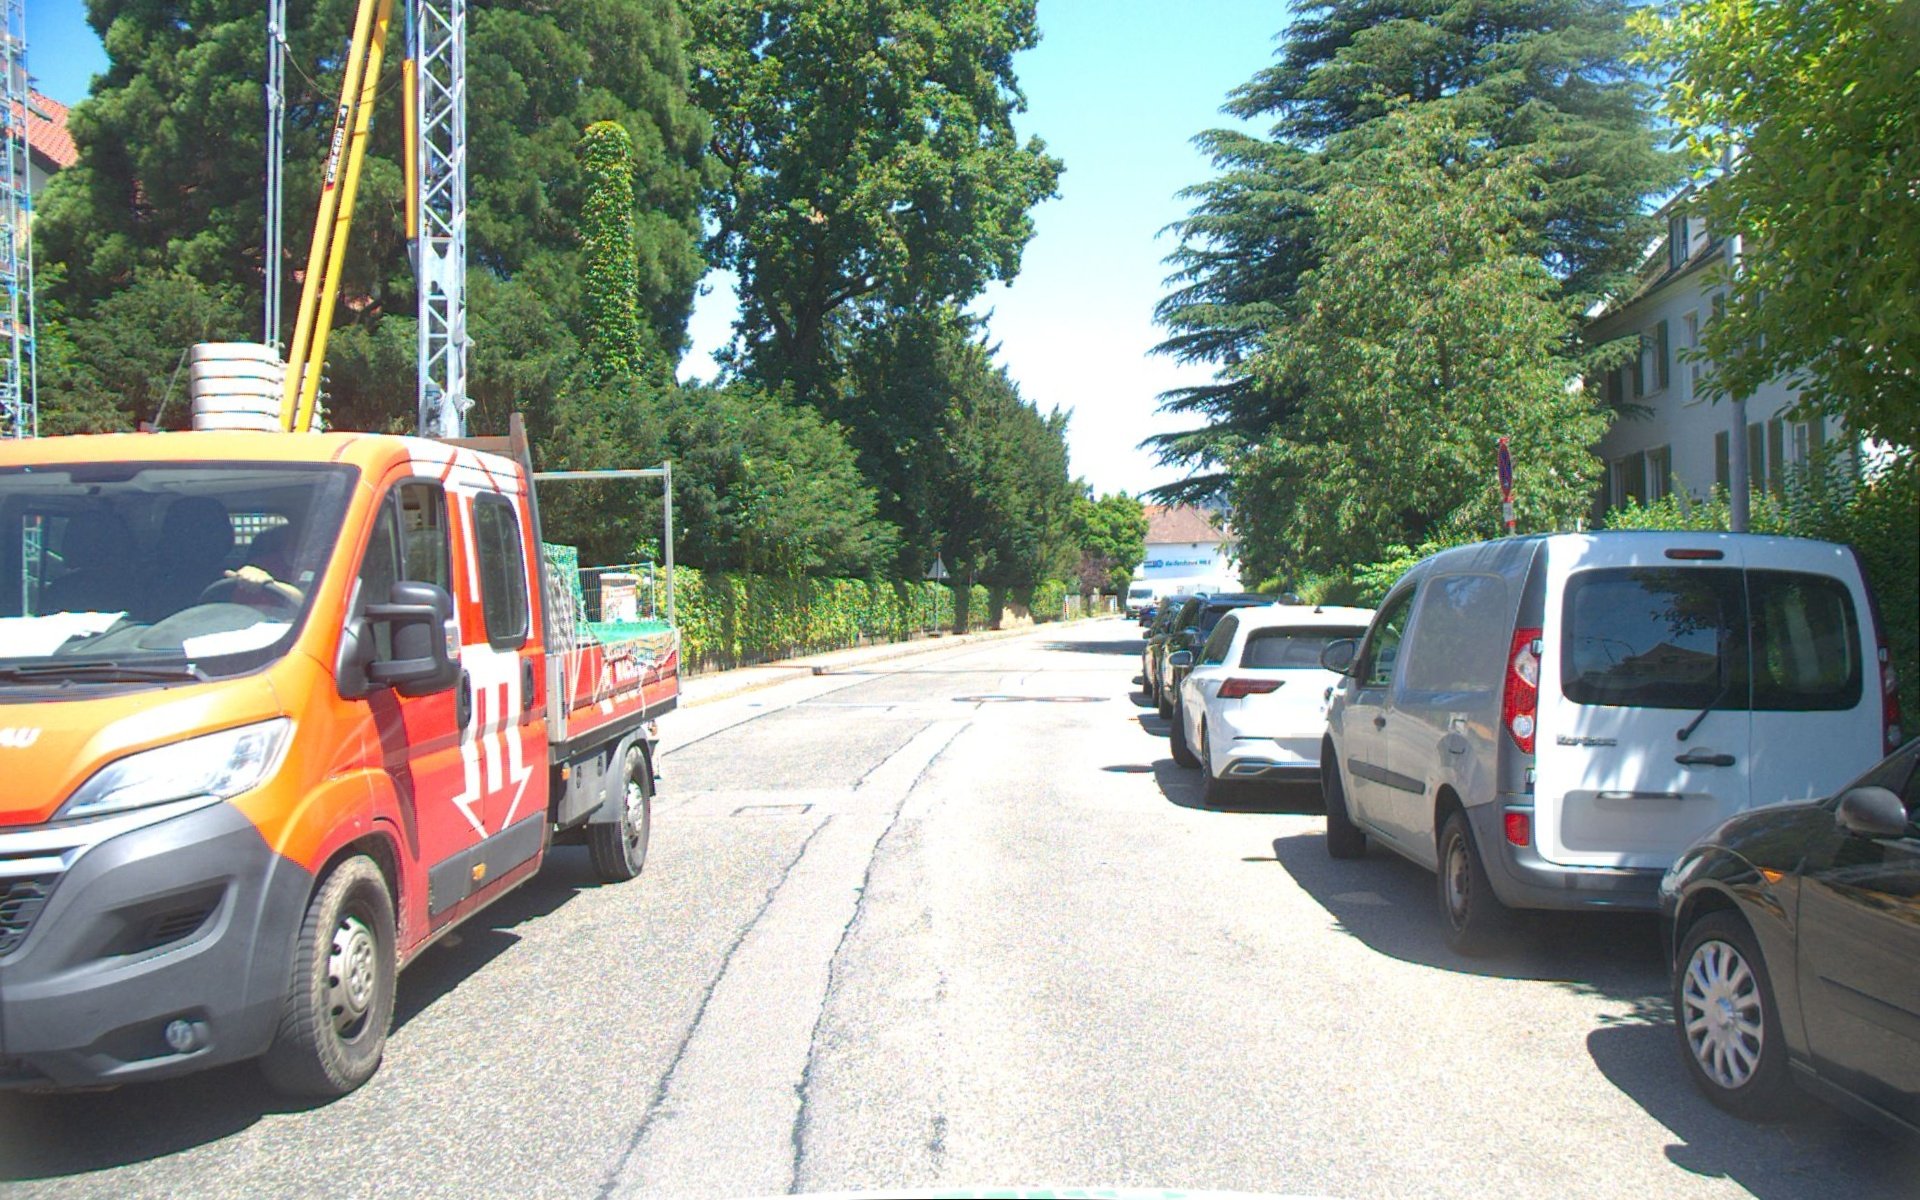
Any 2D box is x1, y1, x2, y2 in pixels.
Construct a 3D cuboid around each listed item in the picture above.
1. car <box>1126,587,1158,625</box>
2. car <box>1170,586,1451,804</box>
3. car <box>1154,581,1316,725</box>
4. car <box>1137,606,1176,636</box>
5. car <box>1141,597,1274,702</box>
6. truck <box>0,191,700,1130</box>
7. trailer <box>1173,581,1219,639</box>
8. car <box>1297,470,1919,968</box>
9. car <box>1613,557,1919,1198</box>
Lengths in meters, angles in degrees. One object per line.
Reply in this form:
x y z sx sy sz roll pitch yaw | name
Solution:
12.796 0.445 116.081 1.951 2.577 5.899 0 -1 9 | car
2.716 0.683 13.656 1.627 1.460 4.130 2 0 3 | car
3.302 0.608 20.486 1.626 1.565 4.206 1 -1 5 | car
10.872 1.125 91.404 1.756 1.536 4.003 2 0 12 | car
3.694 0.698 25.240 1.627 1.457 4.205 0 0 3 | car
-2.799 0.165 7.428 2.083 2.380 6.435 0 0 1 | truck
8.974 0.353 62.988 1.644 2.104 3.711 1 0 8 | trailer
2.937 0.467 8.410 1.627 1.835 4.203 2 0 1 | car
3.049 0.670 3.602 1.595 1.488 4.015 2 0 -1 | car
